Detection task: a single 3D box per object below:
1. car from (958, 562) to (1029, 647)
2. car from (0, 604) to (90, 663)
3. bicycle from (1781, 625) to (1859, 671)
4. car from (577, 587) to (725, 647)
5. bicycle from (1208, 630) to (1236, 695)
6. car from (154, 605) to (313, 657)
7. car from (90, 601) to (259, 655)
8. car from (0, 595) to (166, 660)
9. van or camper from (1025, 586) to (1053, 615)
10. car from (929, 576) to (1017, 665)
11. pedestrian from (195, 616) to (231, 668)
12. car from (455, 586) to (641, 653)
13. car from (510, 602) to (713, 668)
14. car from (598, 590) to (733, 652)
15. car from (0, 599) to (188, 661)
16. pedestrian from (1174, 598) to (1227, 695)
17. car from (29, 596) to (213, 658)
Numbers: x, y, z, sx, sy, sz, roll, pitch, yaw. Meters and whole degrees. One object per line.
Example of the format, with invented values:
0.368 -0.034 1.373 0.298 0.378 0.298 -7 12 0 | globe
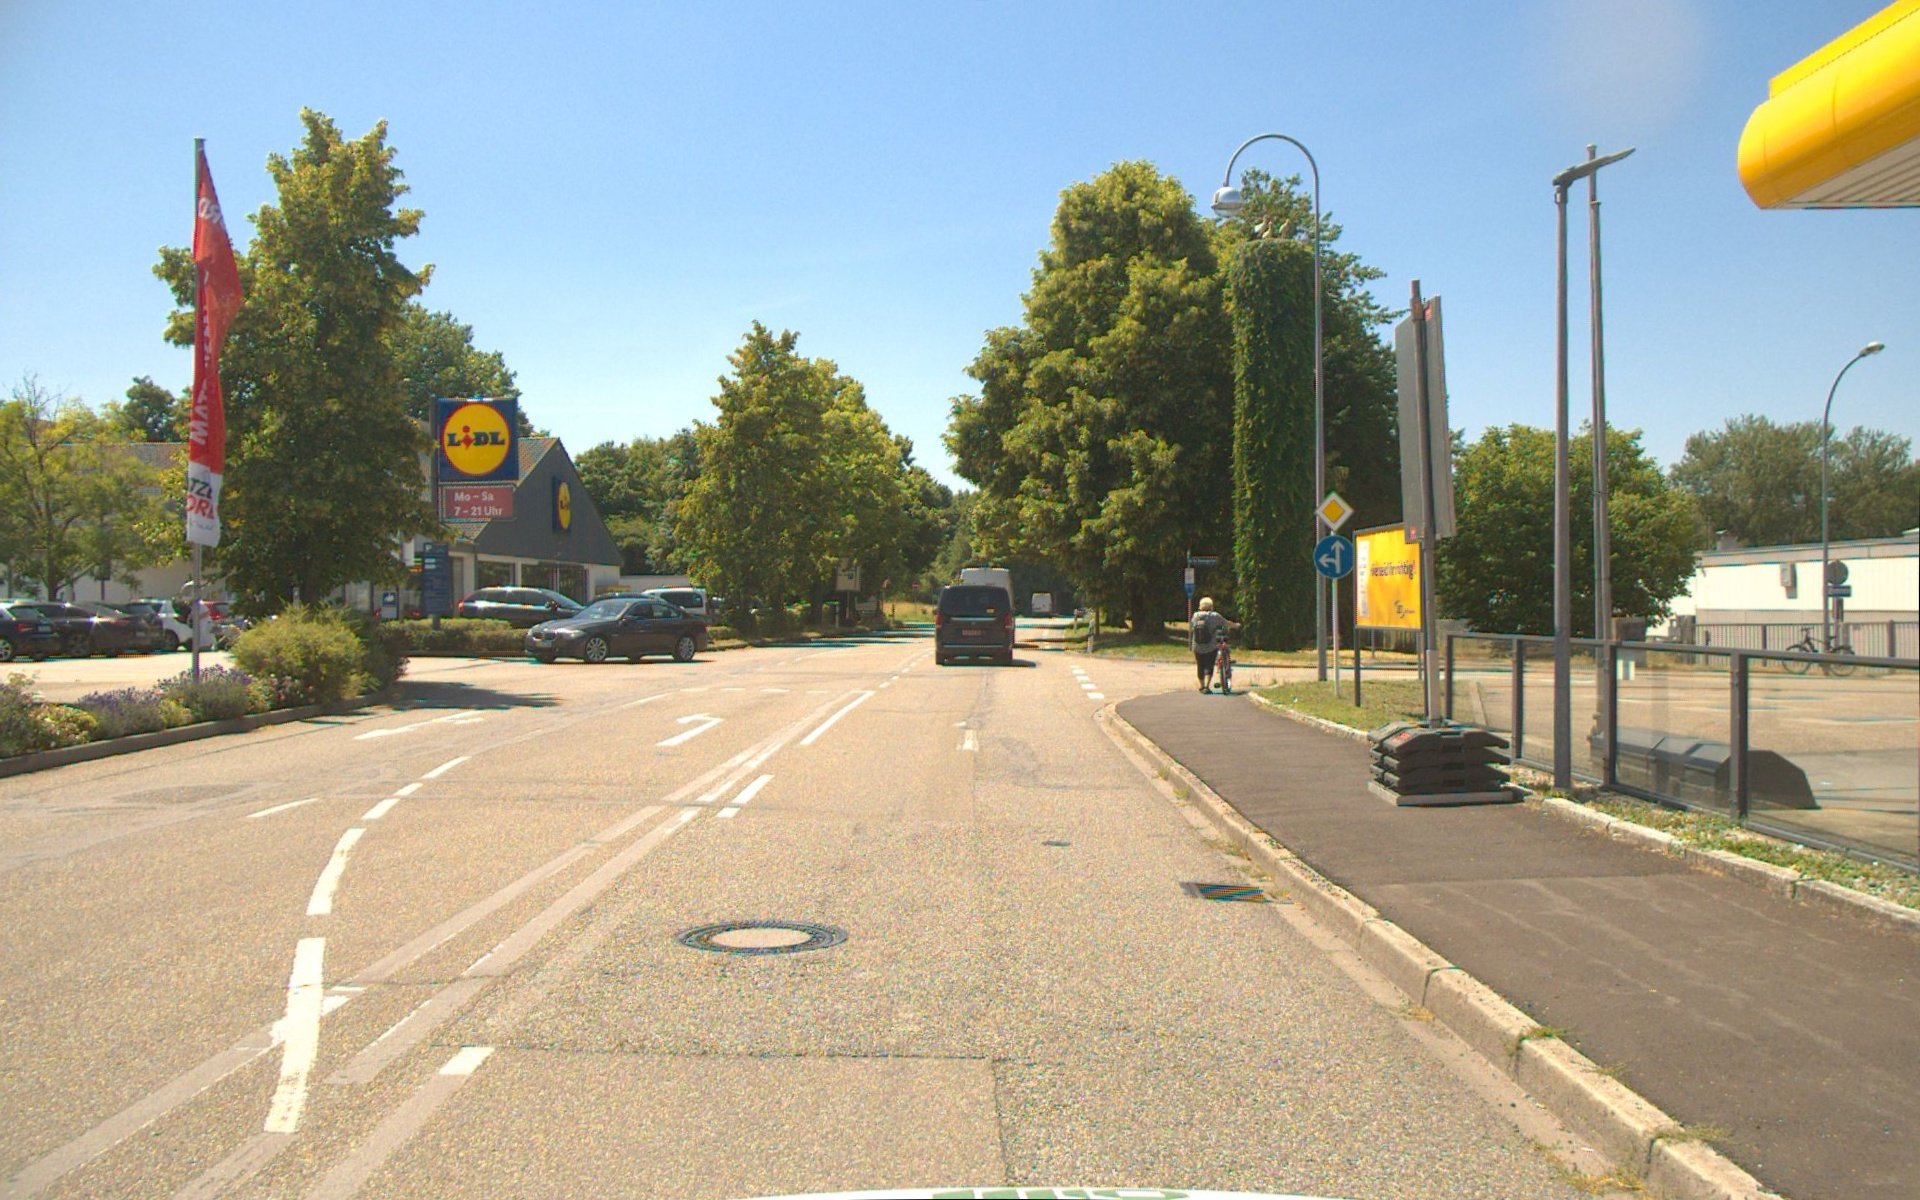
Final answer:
1.187 0.169 56.537 2.034 2.750 4.669 2 -1 5 | car
-23.639 0.803 40.024 4.154 1.393 1.767 1 -1 -6 | car
21.202 1.187 40.782 1.657 1.117 0.468 0 -1 4 | bicycle
-10.058 0.567 54.007 4.291 1.877 2.105 1 -1 8 | car
3.945 0.925 24.874 0.370 0.928 1.599 0 0 11 | bicycle
-23.128 0.991 52.773 4.225 1.557 1.827 1 -1 -2 | car
-23.869 0.849 50.376 4.225 1.557 1.827 1 -1 -2 | car
-22.914 0.697 42.485 4.154 1.617 1.767 1 -1 -6 | car
8.472 0.117 176.789 2.578 2.980 5.205 1 -1 -1 | van or camper
0.362 0.492 40.417 1.952 1.987 5.005 2 -1 2 | car
-21.606 1.210 47.878 0.875 1.509 0.803 1 -1 -21 | pedestrian
-11.542 0.548 46.517 4.608 1.793 2.100 1 -1 6 | car
-8.019 0.815 38.470 1.897 1.425 4.724 0 -1 32 | car
-10.066 0.721 56.722 4.267 2.015 1.905 1 -1 0 | car
-23.686 0.819 45.228 4.229 1.634 1.910 1 -1 -6 | car
3.658 0.697 25.127 0.752 1.446 0.868 0 0 12 | pedestrian
-24.284 0.783 48.011 4.225 1.684 2.113 1 -1 -2 | car
